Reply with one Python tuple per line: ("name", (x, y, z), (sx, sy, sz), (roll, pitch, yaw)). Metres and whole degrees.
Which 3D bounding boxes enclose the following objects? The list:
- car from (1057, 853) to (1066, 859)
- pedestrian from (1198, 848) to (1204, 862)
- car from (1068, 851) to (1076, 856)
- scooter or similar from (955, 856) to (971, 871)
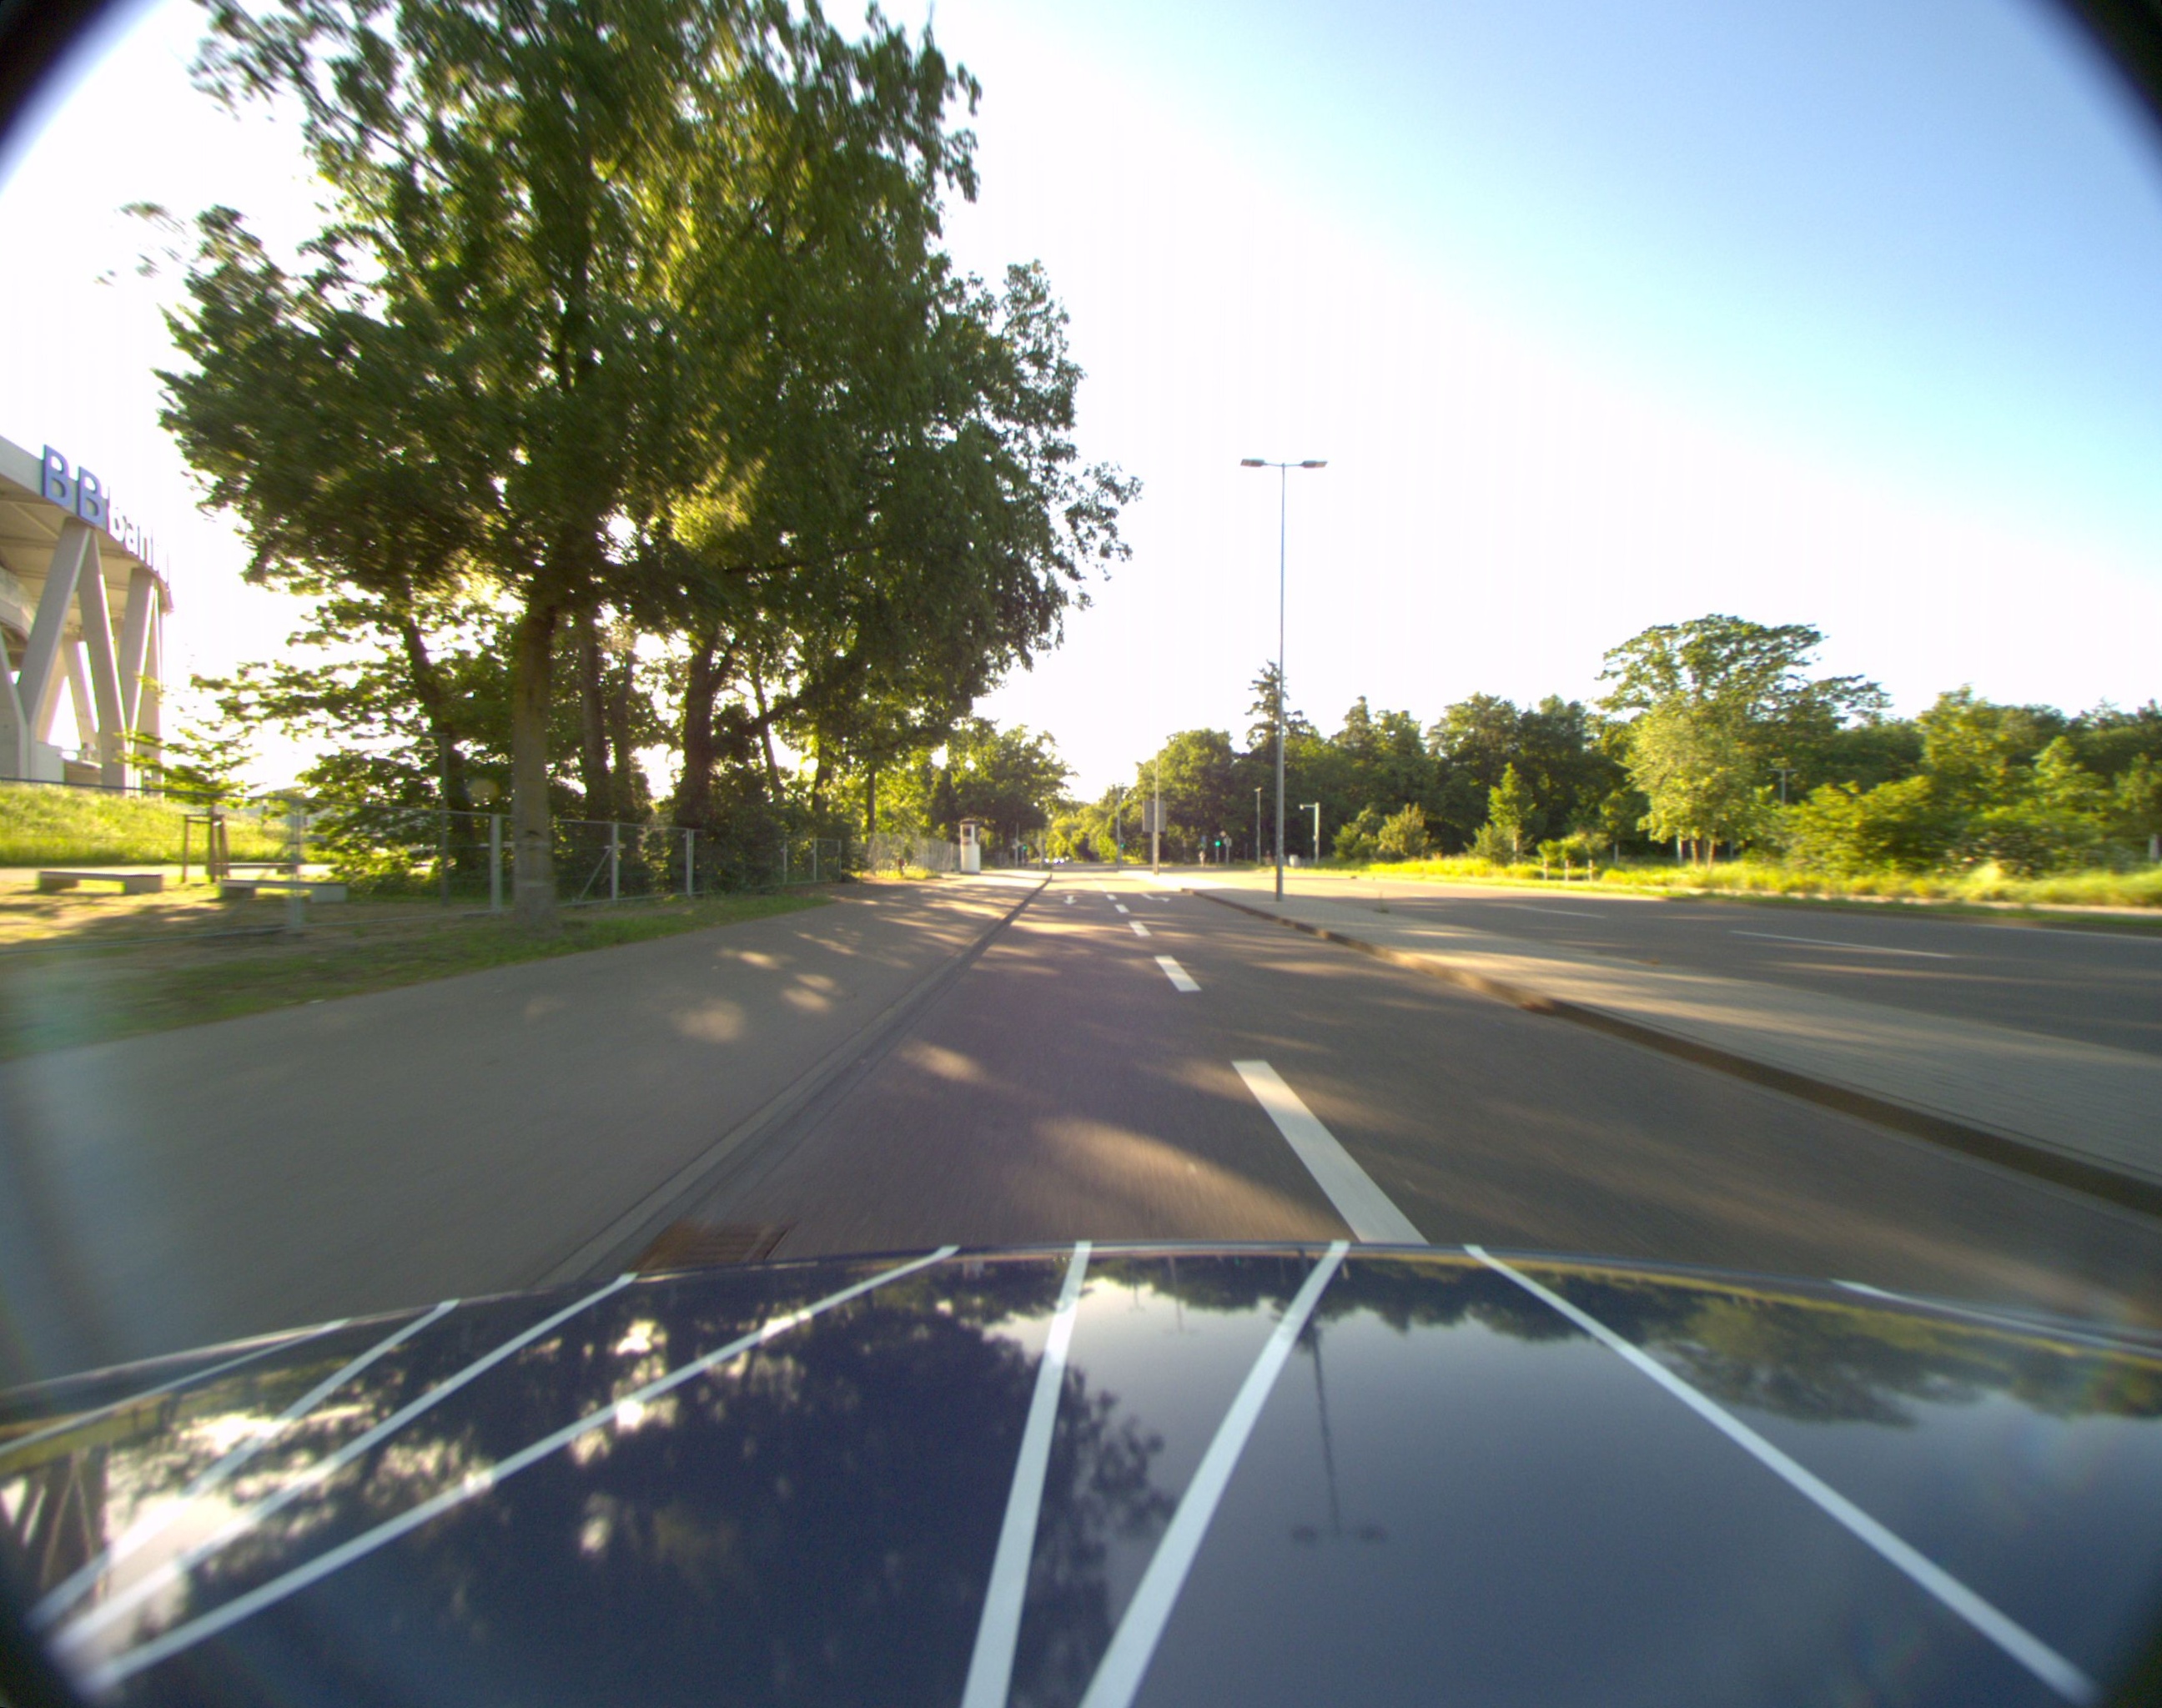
("car", (-4.744, 0.403, 185.579), (1.842, 1.395, 3.998), (-2, 0, -5))
("pedestrian", (15.456, 0.095, 97.537), (0.691, 1.764, 0.734), (0, 1, 2))
("car", (-2.464, -0.170, 208.976), (1.619, 1.346, 4.006), (0, 0, -8))
("scooter or similar", (-9.847, 0.782, 63.388), (1.303, 1.230, 0.334), (-1, 1, -35))
